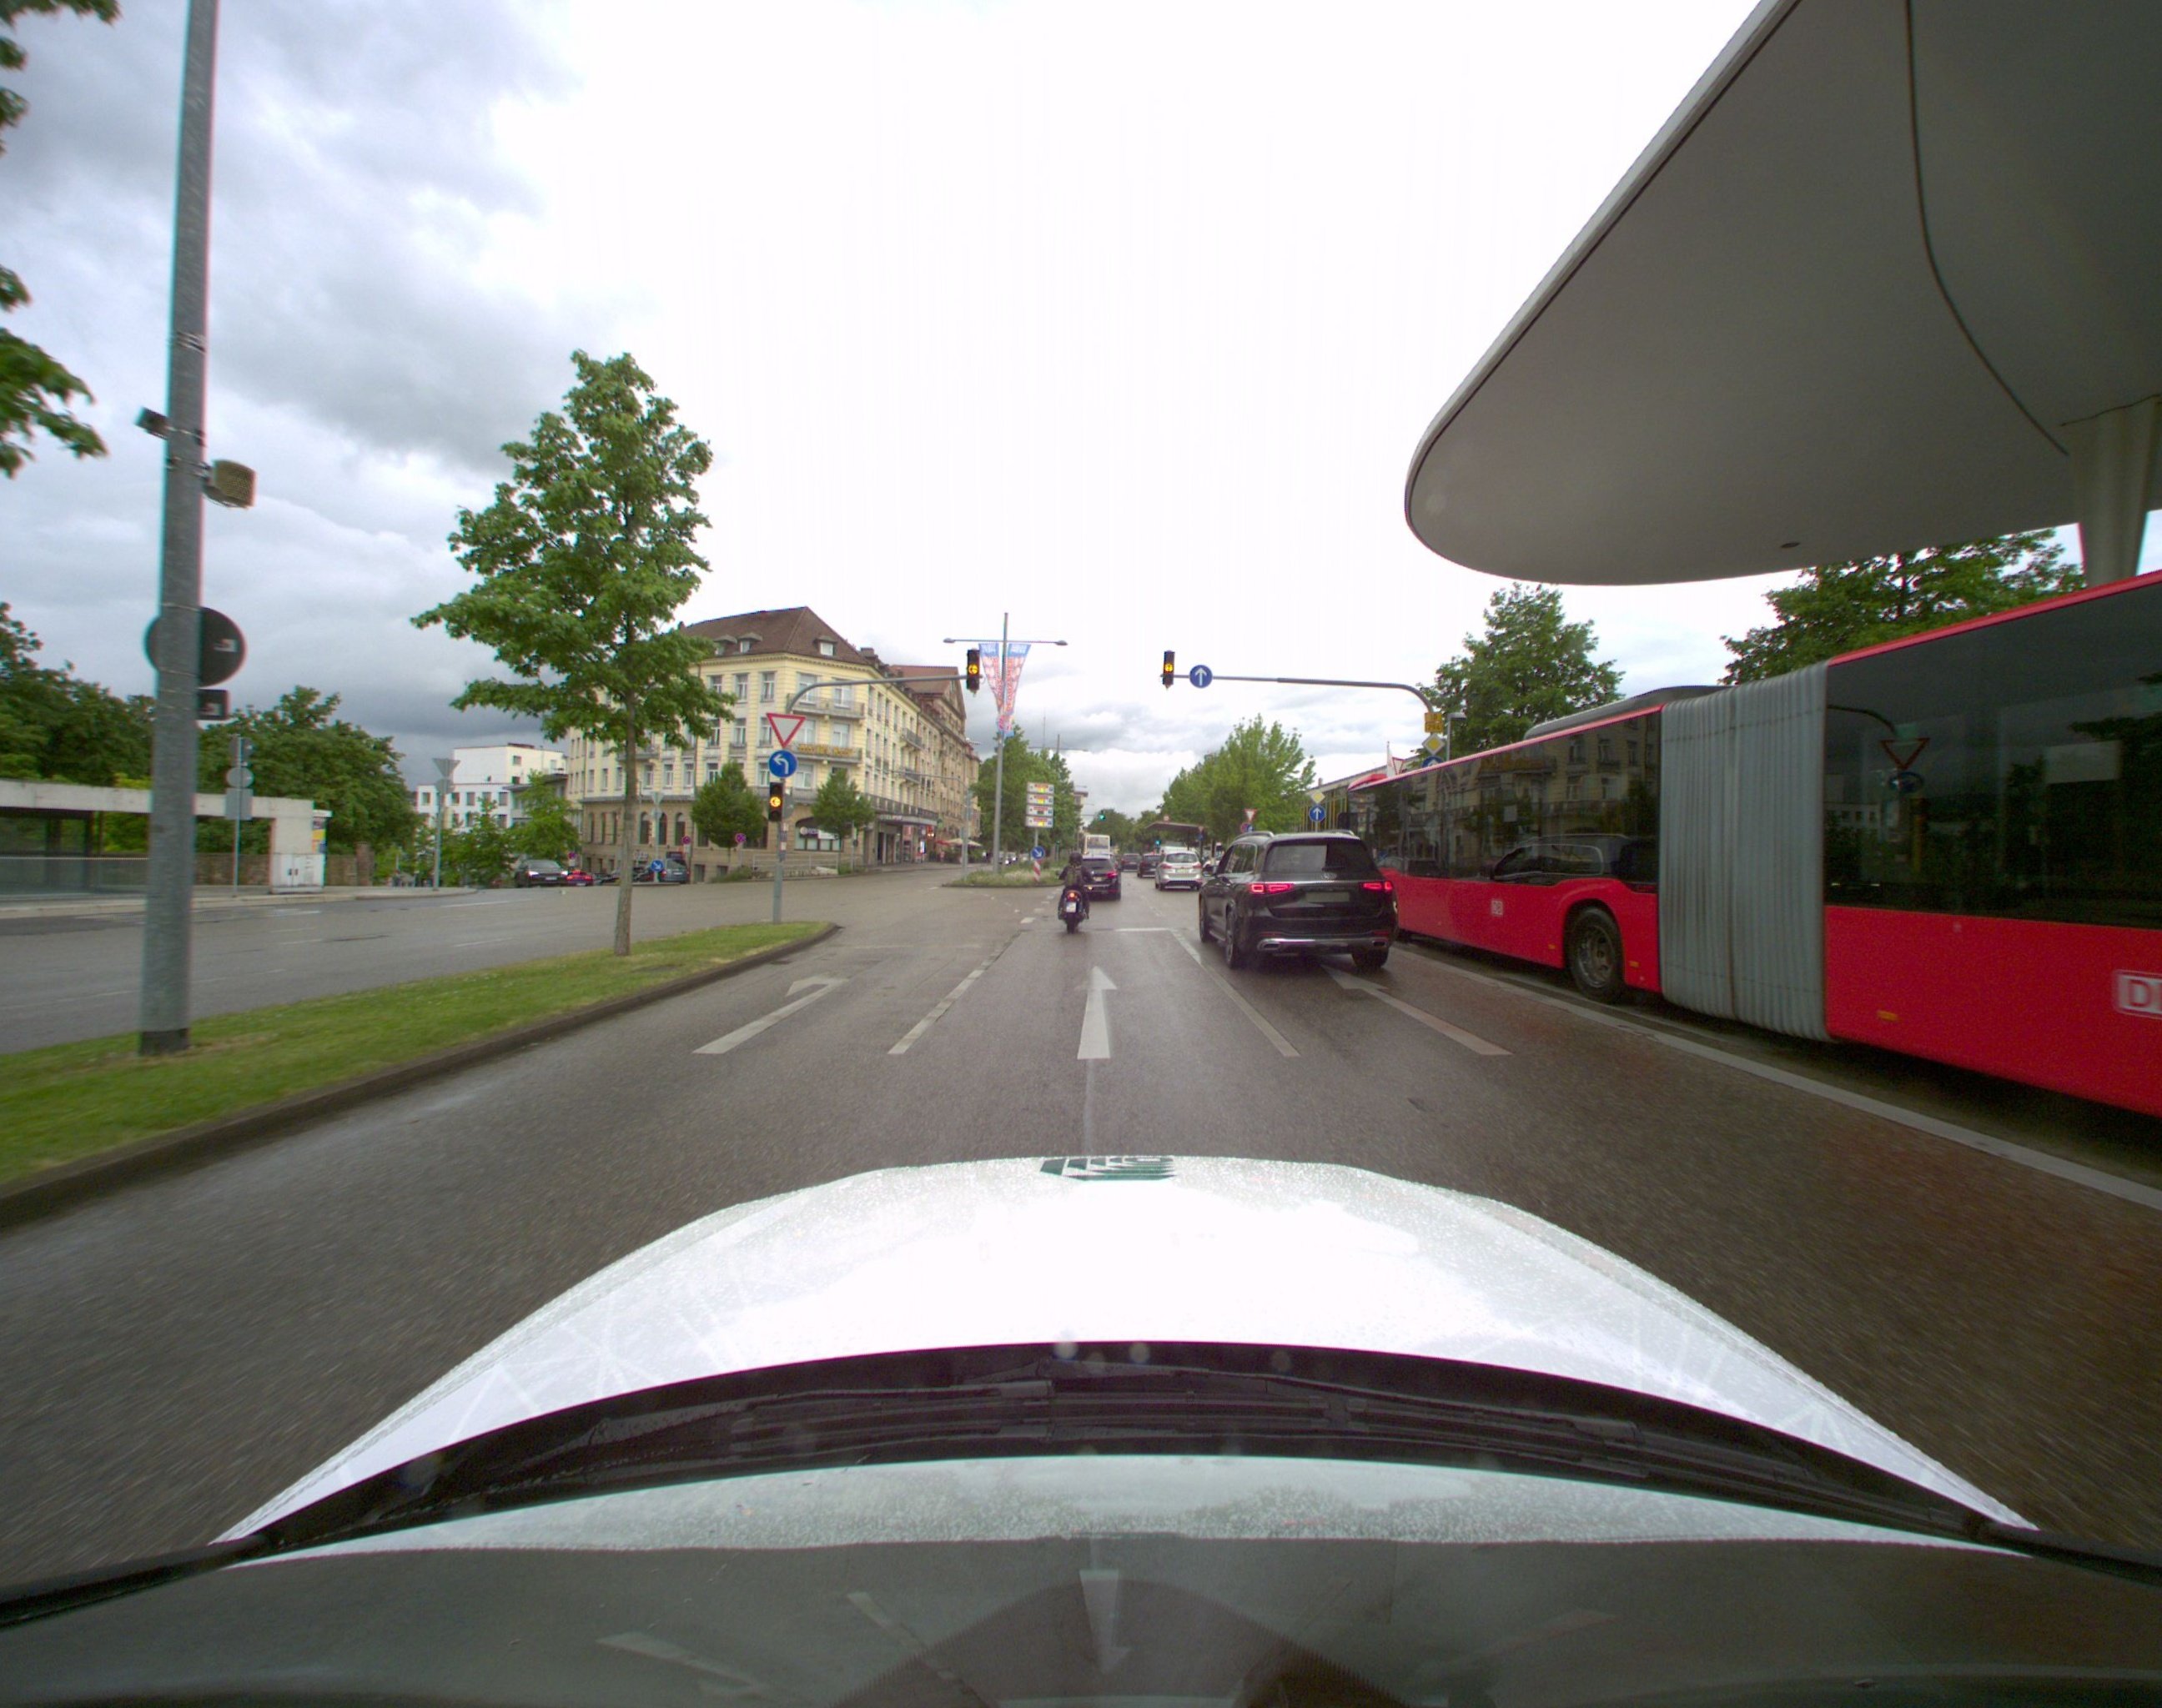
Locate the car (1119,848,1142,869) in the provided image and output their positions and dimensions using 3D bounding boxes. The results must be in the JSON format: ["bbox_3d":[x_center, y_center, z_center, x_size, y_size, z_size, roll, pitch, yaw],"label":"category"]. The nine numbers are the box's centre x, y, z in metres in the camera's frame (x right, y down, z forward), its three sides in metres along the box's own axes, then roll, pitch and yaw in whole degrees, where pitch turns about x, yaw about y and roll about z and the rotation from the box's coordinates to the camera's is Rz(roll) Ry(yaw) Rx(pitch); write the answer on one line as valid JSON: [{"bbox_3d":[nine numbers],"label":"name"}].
[{"bbox_3d":[3.867,0.360,64.208,1.570,1.567,3.796,-1,0,1],"label":"car"}]

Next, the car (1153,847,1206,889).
[{"bbox_3d":[3.928,0.548,33.132,1.735,1.567,3.872,-1,0,1],"label":"car"}]

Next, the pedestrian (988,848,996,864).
[{"bbox_3d":[-11.314,0.229,103.633,0.727,1.966,0.819,0,0,-26],"label":"pedestrian"}]

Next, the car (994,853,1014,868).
[{"bbox_3d":[-8.487,0.710,89.662,1.774,1.567,3.430,-1,0,1],"label":"car"}]

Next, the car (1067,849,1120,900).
[{"bbox_3d":[0.443,0.629,26.797,1.569,1.504,3.872,-1,0,2],"label":"car"}]

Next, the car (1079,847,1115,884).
[{"bbox_3d":[0.748,0.509,37.727,1.570,1.567,3.872,-1,0,1],"label":"car"}]

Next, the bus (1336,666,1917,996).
[{"bbox_3d":[6.820,-0.228,12.562,3.279,3.289,8.853,0,0,2],"label":"bus"}]

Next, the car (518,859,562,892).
[{"bbox_3d":[-29.380,1.129,44.190,1.862,1.585,3.439,-3,1,-34],"label":"car"}]

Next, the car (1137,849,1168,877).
[{"bbox_3d":[4.239,0.523,49.029,1.570,1.567,3.872,-1,0,1],"label":"car"}]

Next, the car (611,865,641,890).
[{"bbox_3d":[-31.737,1.599,56.853,1.668,1.604,3.223,-2,1,-28],"label":"car"}]

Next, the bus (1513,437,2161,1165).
[{"bbox_3d":[6.536,-0.240,4.108,3.274,3.292,10.882,0,0,2],"label":"bus"}]

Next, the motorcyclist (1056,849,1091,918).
[{"bbox_3d":[-0.140,0.570,16.205,0.638,1.347,0.689,0,0,4],"label":"motorcyclist"}]

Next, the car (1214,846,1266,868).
[{"bbox_3d":[12.136,0.230,62.237,1.588,1.567,3.752,-1,0,-38],"label":"car"}]

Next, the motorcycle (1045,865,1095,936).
[{"bbox_3d":[-0.187,0.869,15.864,0.789,1.262,1.857,-1,0,4],"label":"motorcycle"}]

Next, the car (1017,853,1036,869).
[{"bbox_3d":[-5.882,0.743,87.879,1.774,1.567,3.430,-1,0,1],"label":"car"}]

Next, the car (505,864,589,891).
[{"bbox_3d":[-34.429,1.477,52.569,4.422,1.570,1.802,-1,0,-35],"label":"car"}]

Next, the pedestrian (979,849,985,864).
[{"bbox_3d":[-12.459,0.319,102.585,0.555,1.778,0.502,0,0,36],"label":"pedestrian"}]

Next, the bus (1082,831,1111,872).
[{"bbox_3d":[1.606,-0.187,85.713,2.828,3.988,11.863,1,-1,1],"label":"bus"}]

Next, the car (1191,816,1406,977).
[{"bbox_3d":[2.923,0.507,12.153,1.950,1.876,4.874,-1,0,1],"label":"car"}]

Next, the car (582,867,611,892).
[{"bbox_3d":[-35.458,1.826,59.668,1.668,1.604,3.222,-3,1,-29],"label":"car"}]

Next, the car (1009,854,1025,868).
[{"bbox_3d":[-7.509,0.765,96.023,1.570,1.567,3.430,-1,0,1],"label":"car"}]

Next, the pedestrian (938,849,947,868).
[{"bbox_3d":[-14.147,0.456,82.989,0.727,2.014,0.819,0,0,-26],"label":"pedestrian"}]

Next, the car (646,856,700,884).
[{"bbox_3d":[-26.762,1.025,53.301,2.131,1.776,4.340,0,0,-41],"label":"car"}]
